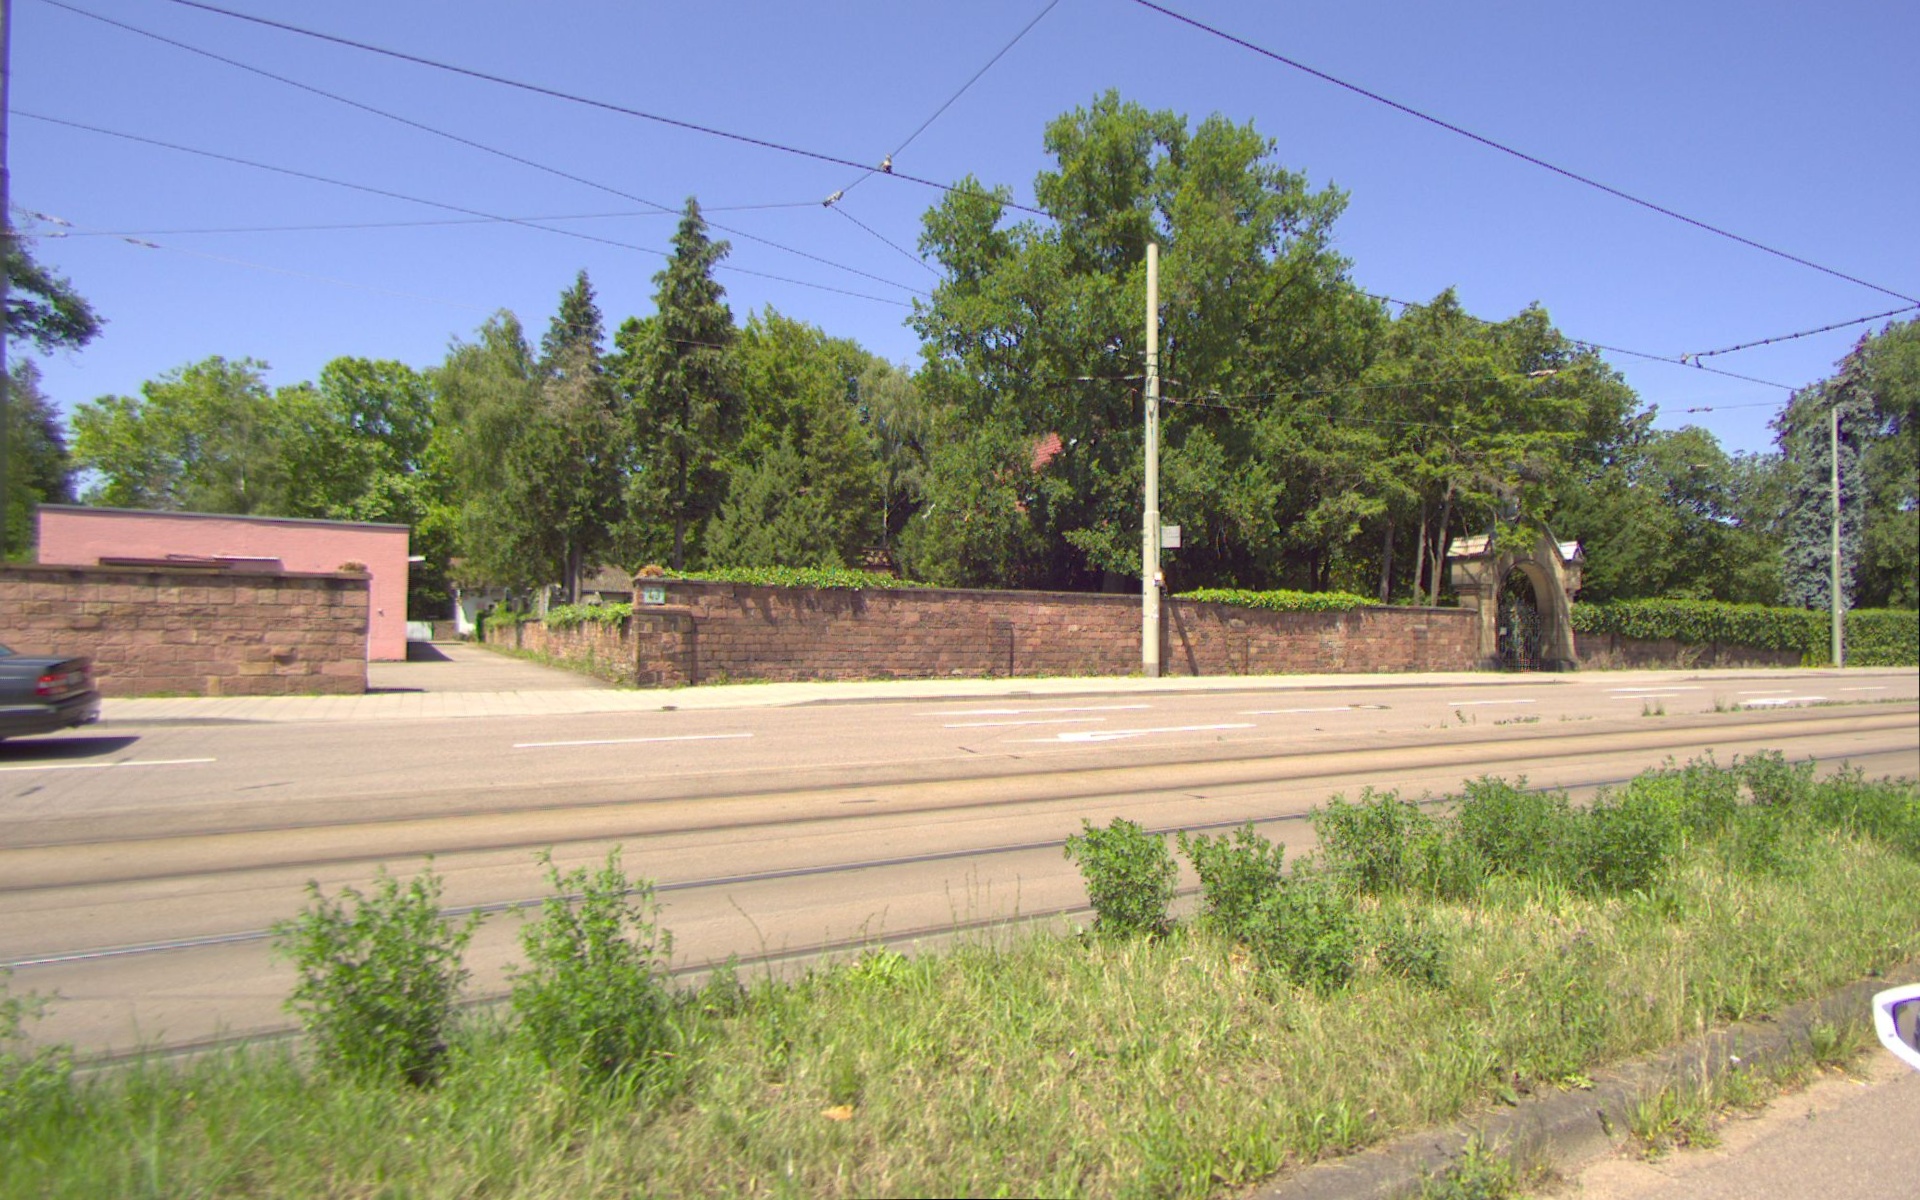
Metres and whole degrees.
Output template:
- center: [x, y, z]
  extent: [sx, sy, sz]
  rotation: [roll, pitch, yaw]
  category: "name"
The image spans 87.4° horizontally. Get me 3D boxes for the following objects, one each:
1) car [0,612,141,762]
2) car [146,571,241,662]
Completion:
- center: [-11.687, 0.867, 10.161]
  extent: [4.971, 1.436, 1.833]
  rotation: [1, 1, -28]
  category: "car"
- center: [-22.782, 0.504, 30.000]
  extent: [1.865, 2.498, 4.352]
  rotation: [1, -1, -33]
  category: "car"
